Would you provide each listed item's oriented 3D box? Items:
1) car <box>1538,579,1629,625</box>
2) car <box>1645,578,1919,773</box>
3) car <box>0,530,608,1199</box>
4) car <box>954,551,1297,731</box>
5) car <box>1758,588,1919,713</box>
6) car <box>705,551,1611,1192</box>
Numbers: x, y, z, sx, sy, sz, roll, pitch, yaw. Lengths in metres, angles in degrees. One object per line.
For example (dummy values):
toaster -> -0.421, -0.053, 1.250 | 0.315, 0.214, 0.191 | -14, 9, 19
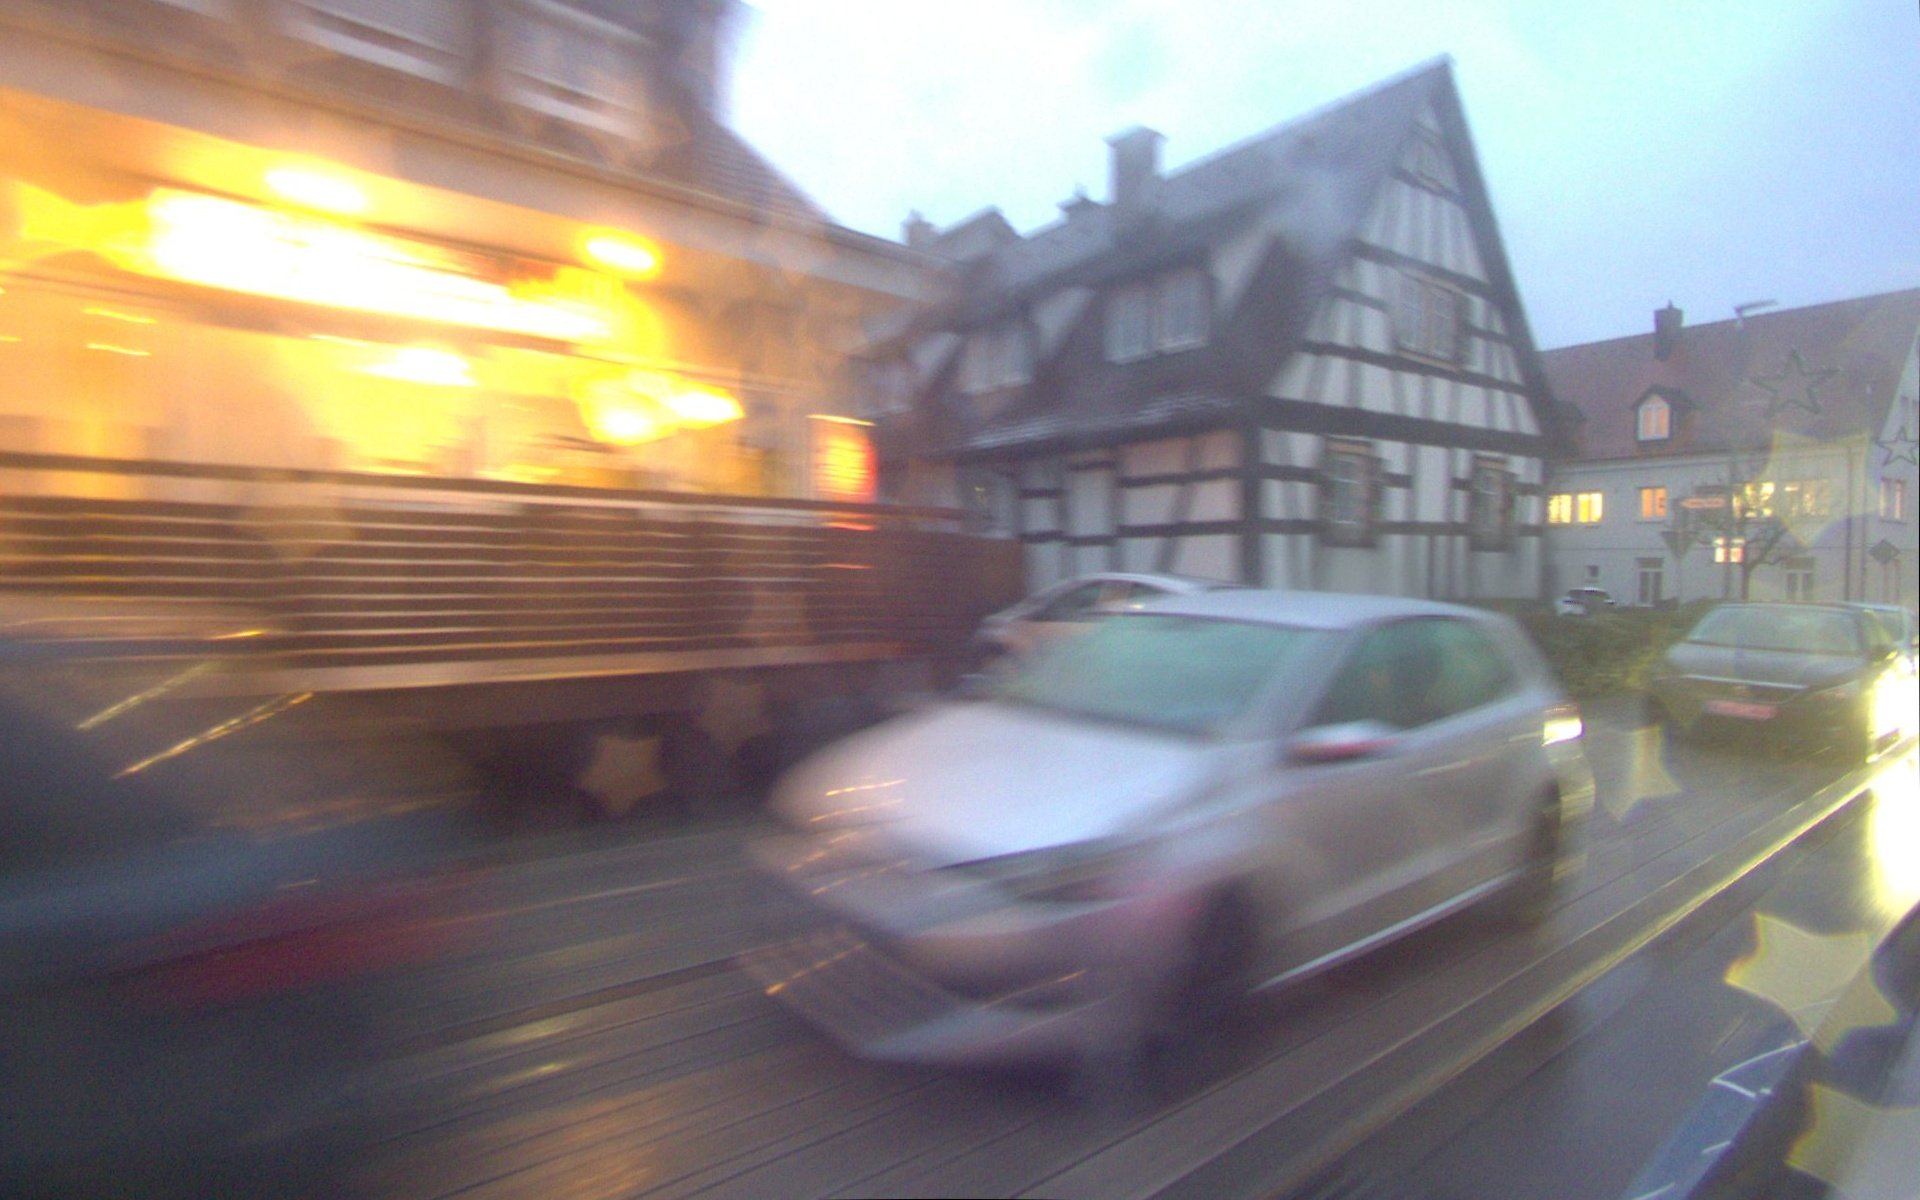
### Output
car -> 22.540, 0.032, 36.734 | 1.772, 1.486, 4.200 | 3, 2, 18
car -> 8.871, 0.613, 10.641 | 4.315, 1.545, 1.767 | 0, 4, -43
car -> -2.907, 0.615, 0.916 | 4.530, 1.440, 1.826 | 0, 4, -43
car -> 1.660, 0.302, 10.907 | 1.658, 1.458, 3.297 | -1, 5, -42
car -> 13.070, 0.625, 14.565 | 3.930, 1.476, 1.736 | 0, 4, -41
car -> 1.052, 0.611, 4.185 | 3.731, 1.459, 1.631 | 0, 4, -39
